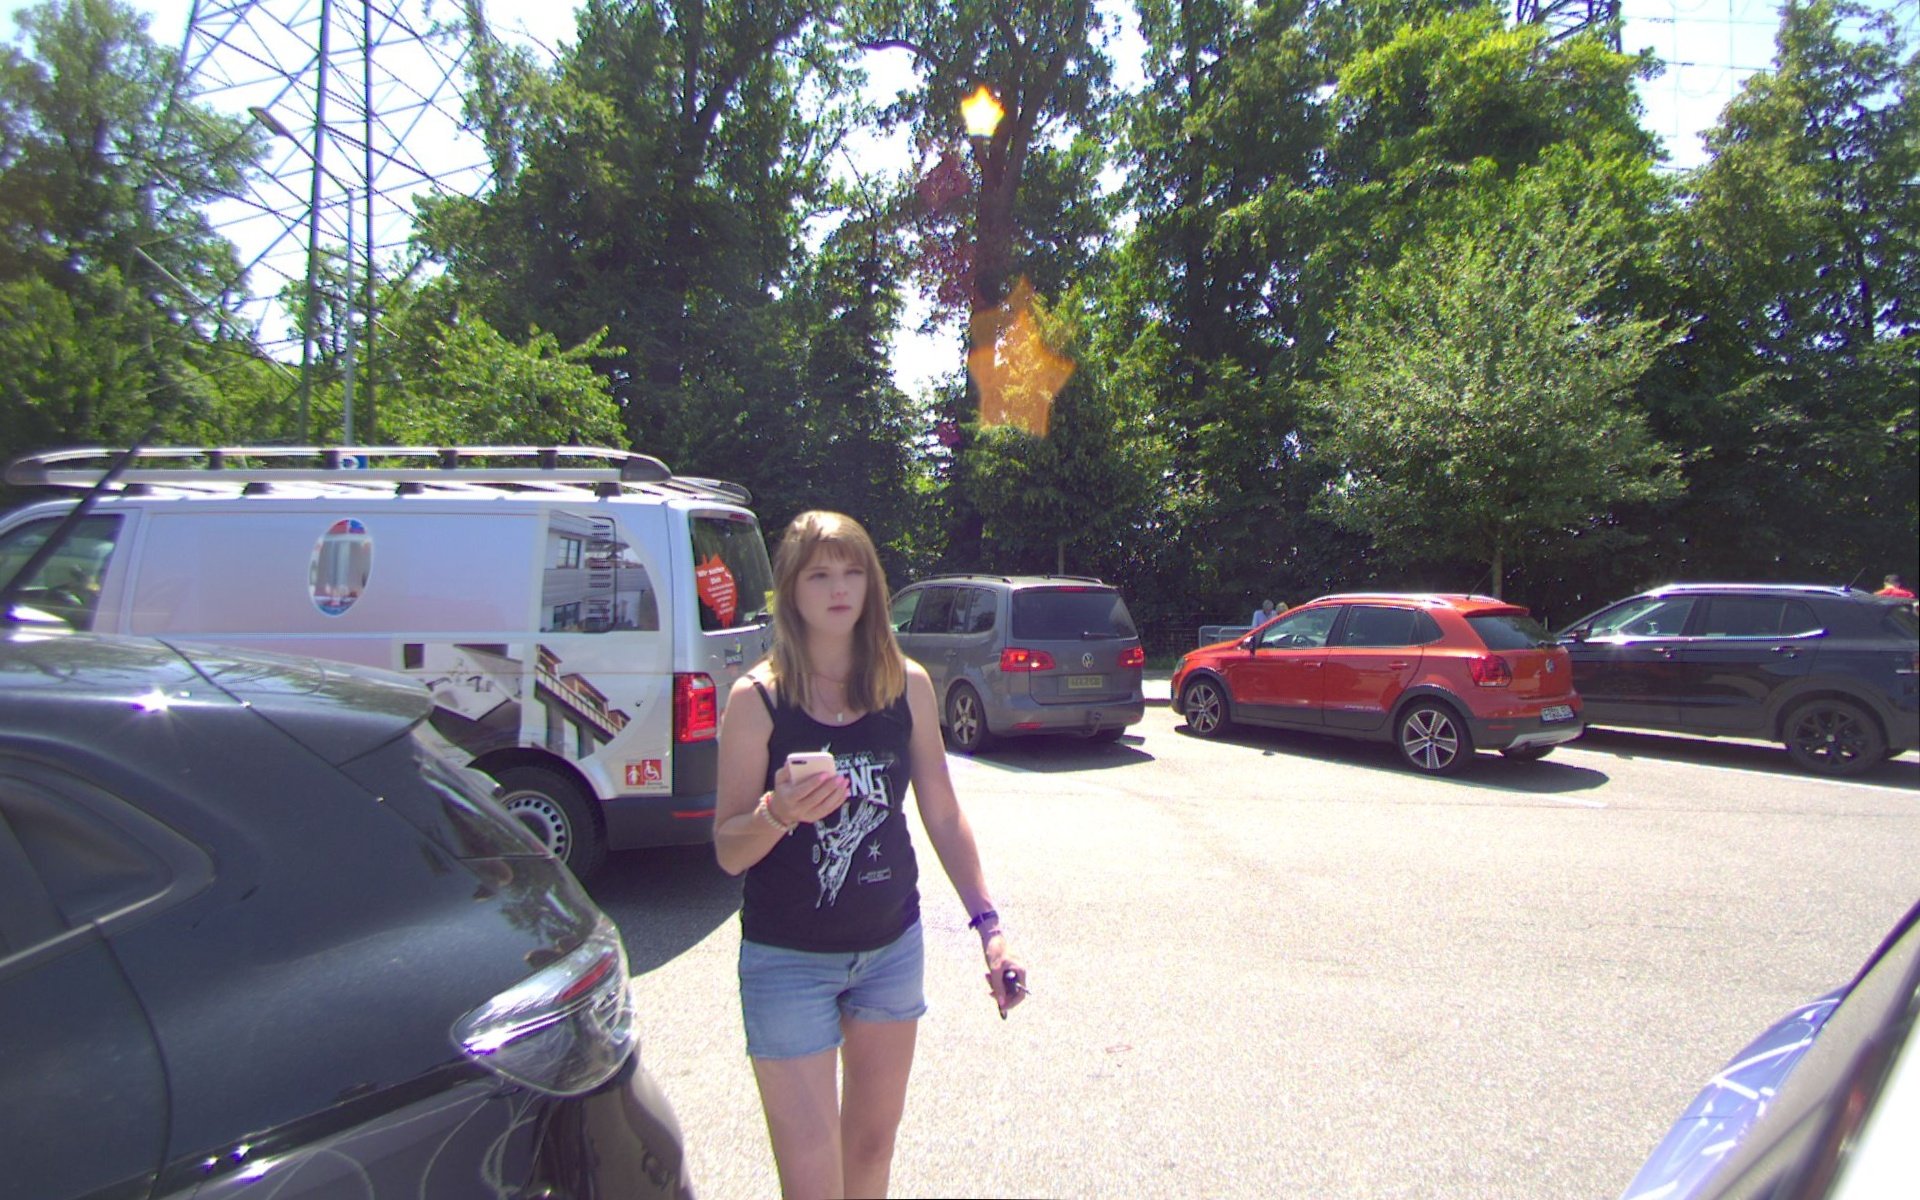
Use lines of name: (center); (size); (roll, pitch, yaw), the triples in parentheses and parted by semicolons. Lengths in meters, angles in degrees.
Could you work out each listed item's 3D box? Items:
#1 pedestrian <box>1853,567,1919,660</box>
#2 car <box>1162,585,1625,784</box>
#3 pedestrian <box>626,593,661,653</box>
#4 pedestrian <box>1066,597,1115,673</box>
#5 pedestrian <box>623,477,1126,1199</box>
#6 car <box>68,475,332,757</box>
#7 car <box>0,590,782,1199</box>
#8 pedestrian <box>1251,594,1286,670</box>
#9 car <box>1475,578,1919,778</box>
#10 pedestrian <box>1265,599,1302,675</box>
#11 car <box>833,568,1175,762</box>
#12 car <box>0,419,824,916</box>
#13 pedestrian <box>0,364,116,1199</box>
pedestrian: (13.872, 0.190, 14.810); (0.846, 1.316, 0.894); (1, -1, -18)
car: (3.873, 0.612, 9.644); (1.604, 1.476, 3.810); (0, 1, -34)
pedestrian: (-6.659, 0.475, 21.306); (0.550, 1.229, 0.599); (1, -1, -1)
pedestrian: (2.162, 0.585, 16.853); (0.660, 1.235, 0.682); (1, -2, -5)
pedestrian: (-0.170, 0.640, 1.809); (0.642, 1.606, 0.648); (1, -1, -36)
car: (-8.040, 0.098, 10.629); (1.885, 2.353, 4.089); (0, 1, -40)
car: (-2.103, 0.724, 0.589); (1.615, 1.503, 3.706); (0, -1, 44)
pedestrian: (5.796, 0.598, 19.021); (0.495, 1.393, 0.491); (1, -1, 0)
car: (7.264, 0.583, 9.676); (1.727, 1.566, 3.806); (0, 1, -39)
pedestrian: (5.714, 0.648, 17.897); (0.495, 1.316, 0.491); (1, -1, 0)
car: (0.243, 0.508, 10.552); (1.717, 1.611, 3.961); (0, 1, -30)
car: (-3.531, 0.250, 5.610); (5.216, 2.177, 1.998); (1, 1, 4)
pedestrian: (-2.612, 0.413, 2.192); (0.898, 1.896, 0.775); (1, -1, -8)
